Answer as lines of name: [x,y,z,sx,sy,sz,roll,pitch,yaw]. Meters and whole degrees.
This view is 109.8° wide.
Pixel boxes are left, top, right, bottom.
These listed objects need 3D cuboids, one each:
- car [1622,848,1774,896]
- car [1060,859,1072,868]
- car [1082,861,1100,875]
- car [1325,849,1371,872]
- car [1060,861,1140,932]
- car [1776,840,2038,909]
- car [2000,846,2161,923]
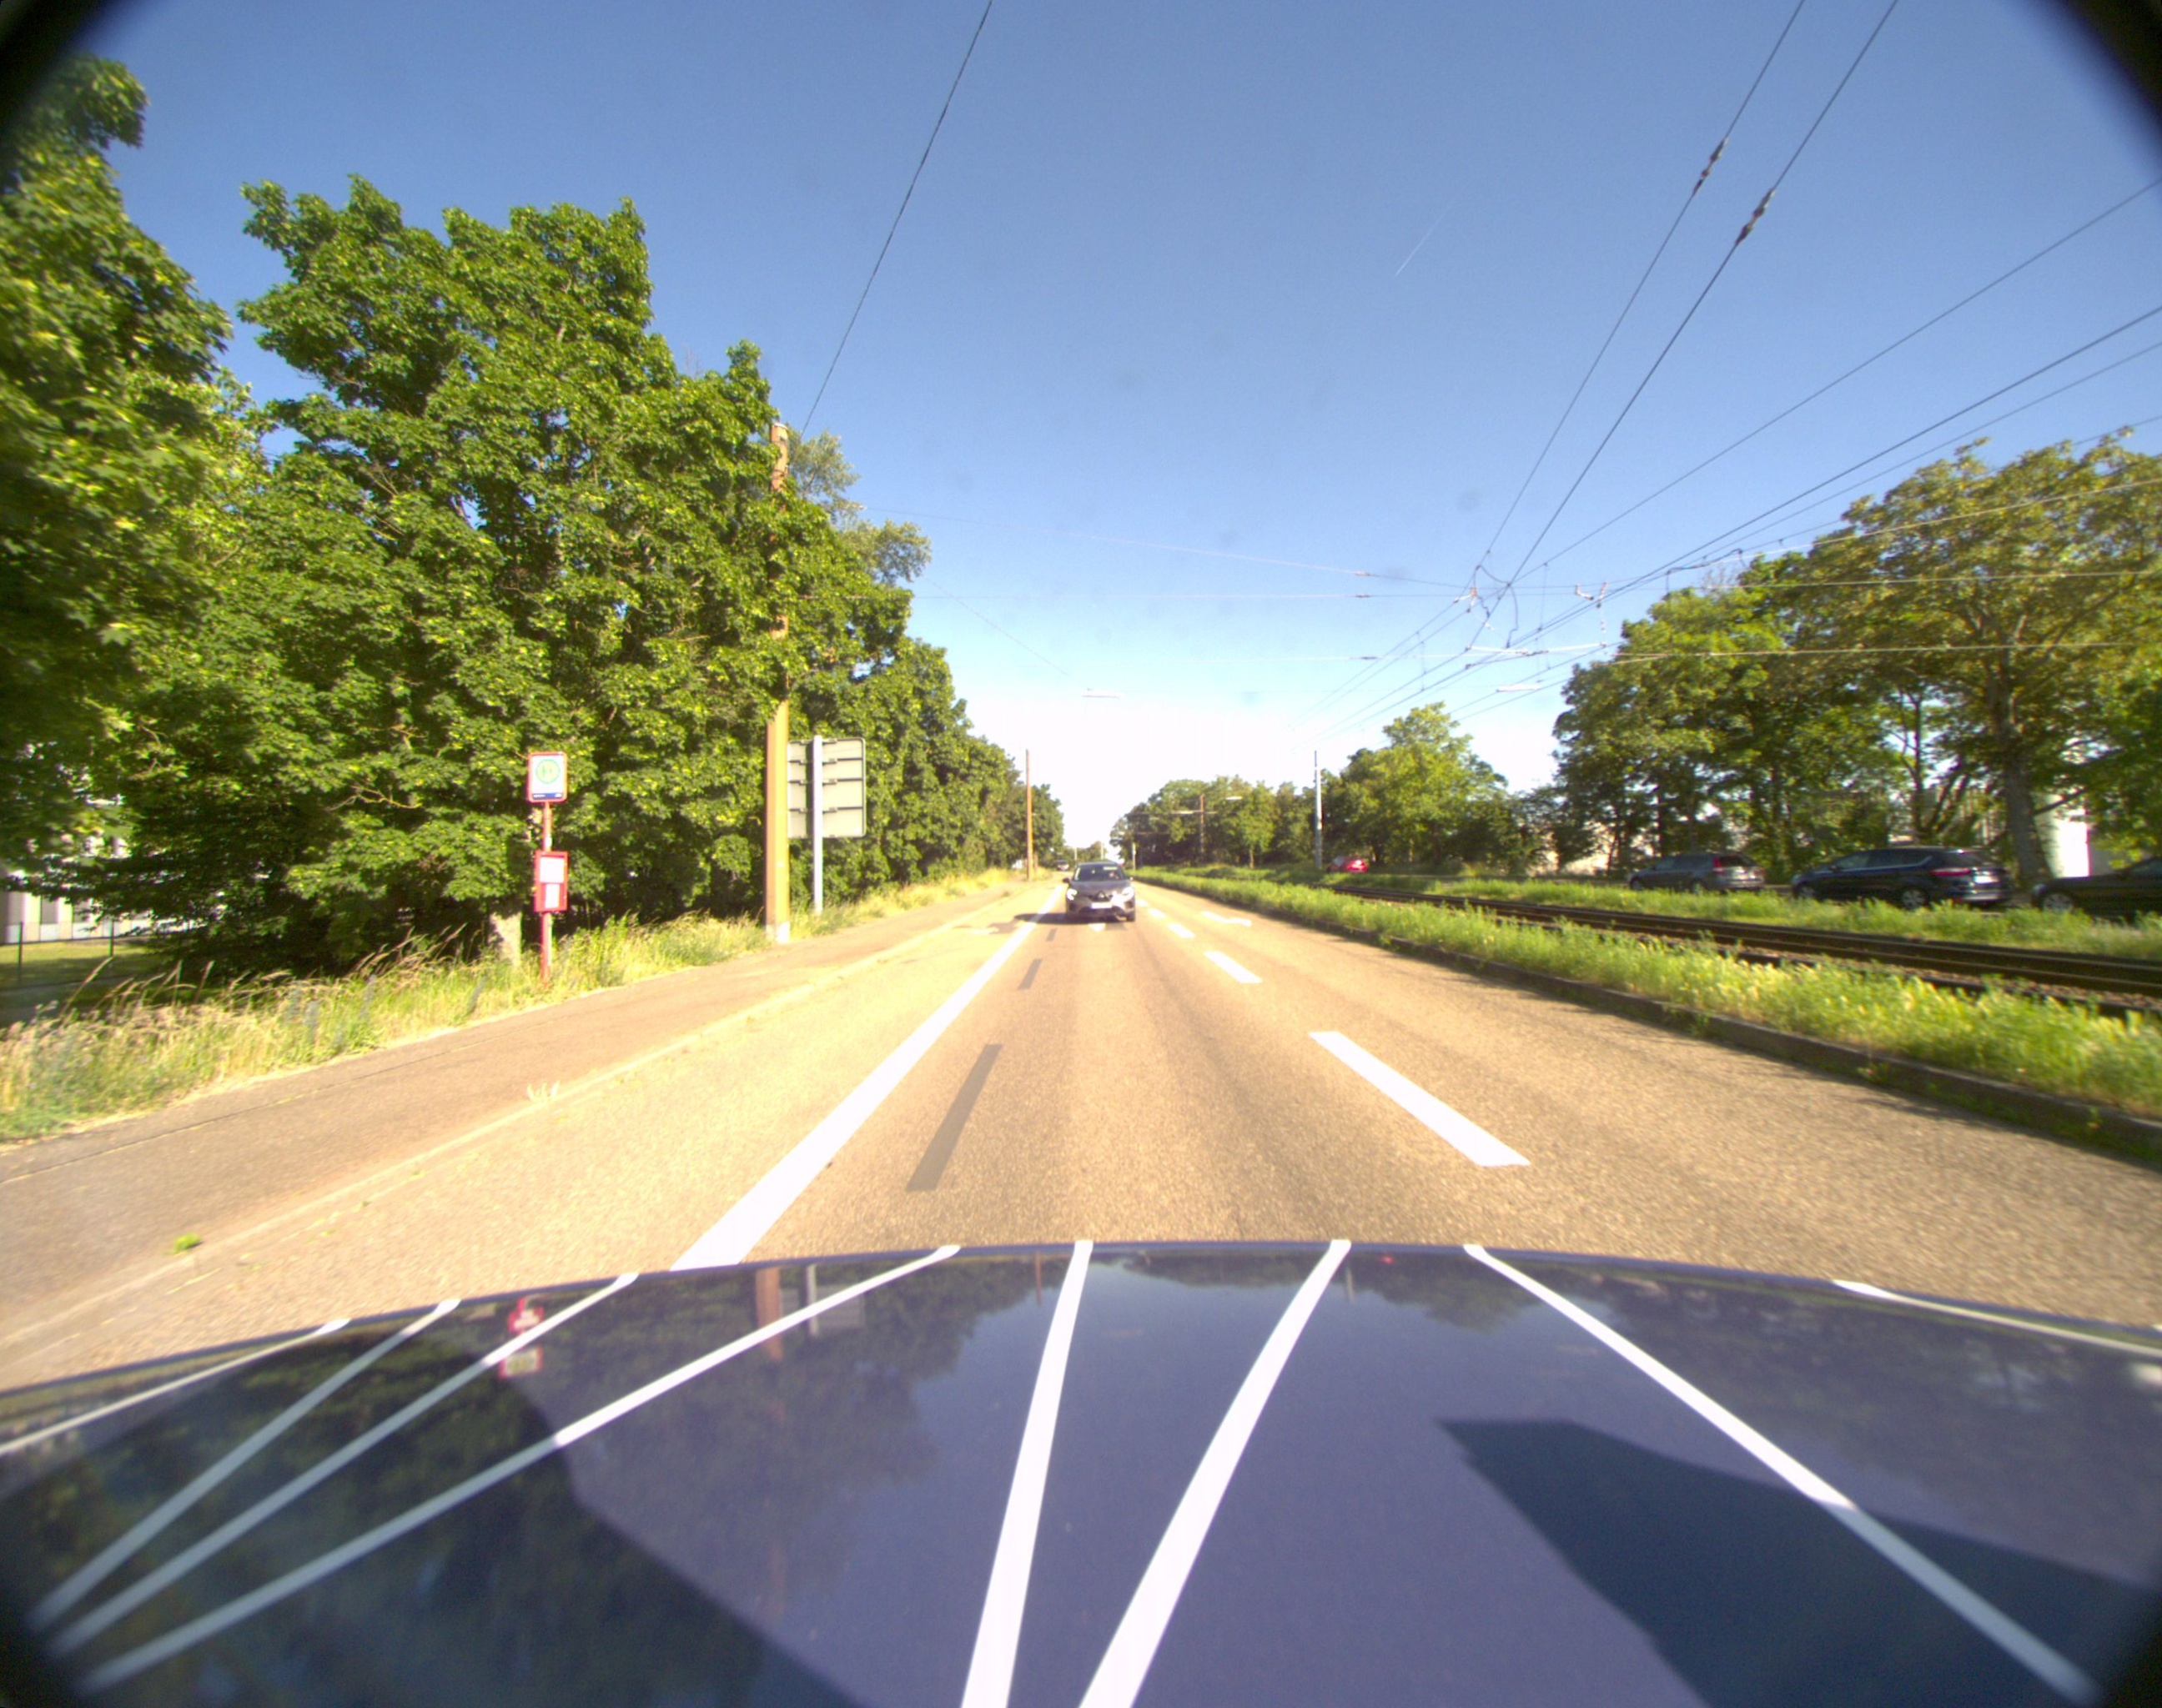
car: [21.483,0.577,26.729,1.740,1.485,4.327,-3,0,-1]
car: [-3.029,1.866,151.983,2.000,1.577,3.997,-2,0,-7]
car: [1.205,1.700,93.188,1.999,1.577,3.999,-2,0,-3]
car: [21.181,0.516,60.526,2.009,1.692,4.466,-2,0,-1]
car: [0.473,1.027,20.181,1.822,1.589,4.413,-2,0,0]
car: [21.343,0.502,19.977,1.999,1.565,4.435,-2,-1,-1]
car: [21.352,0.570,14.617,1.998,1.429,4.415,-2,-1,1]
